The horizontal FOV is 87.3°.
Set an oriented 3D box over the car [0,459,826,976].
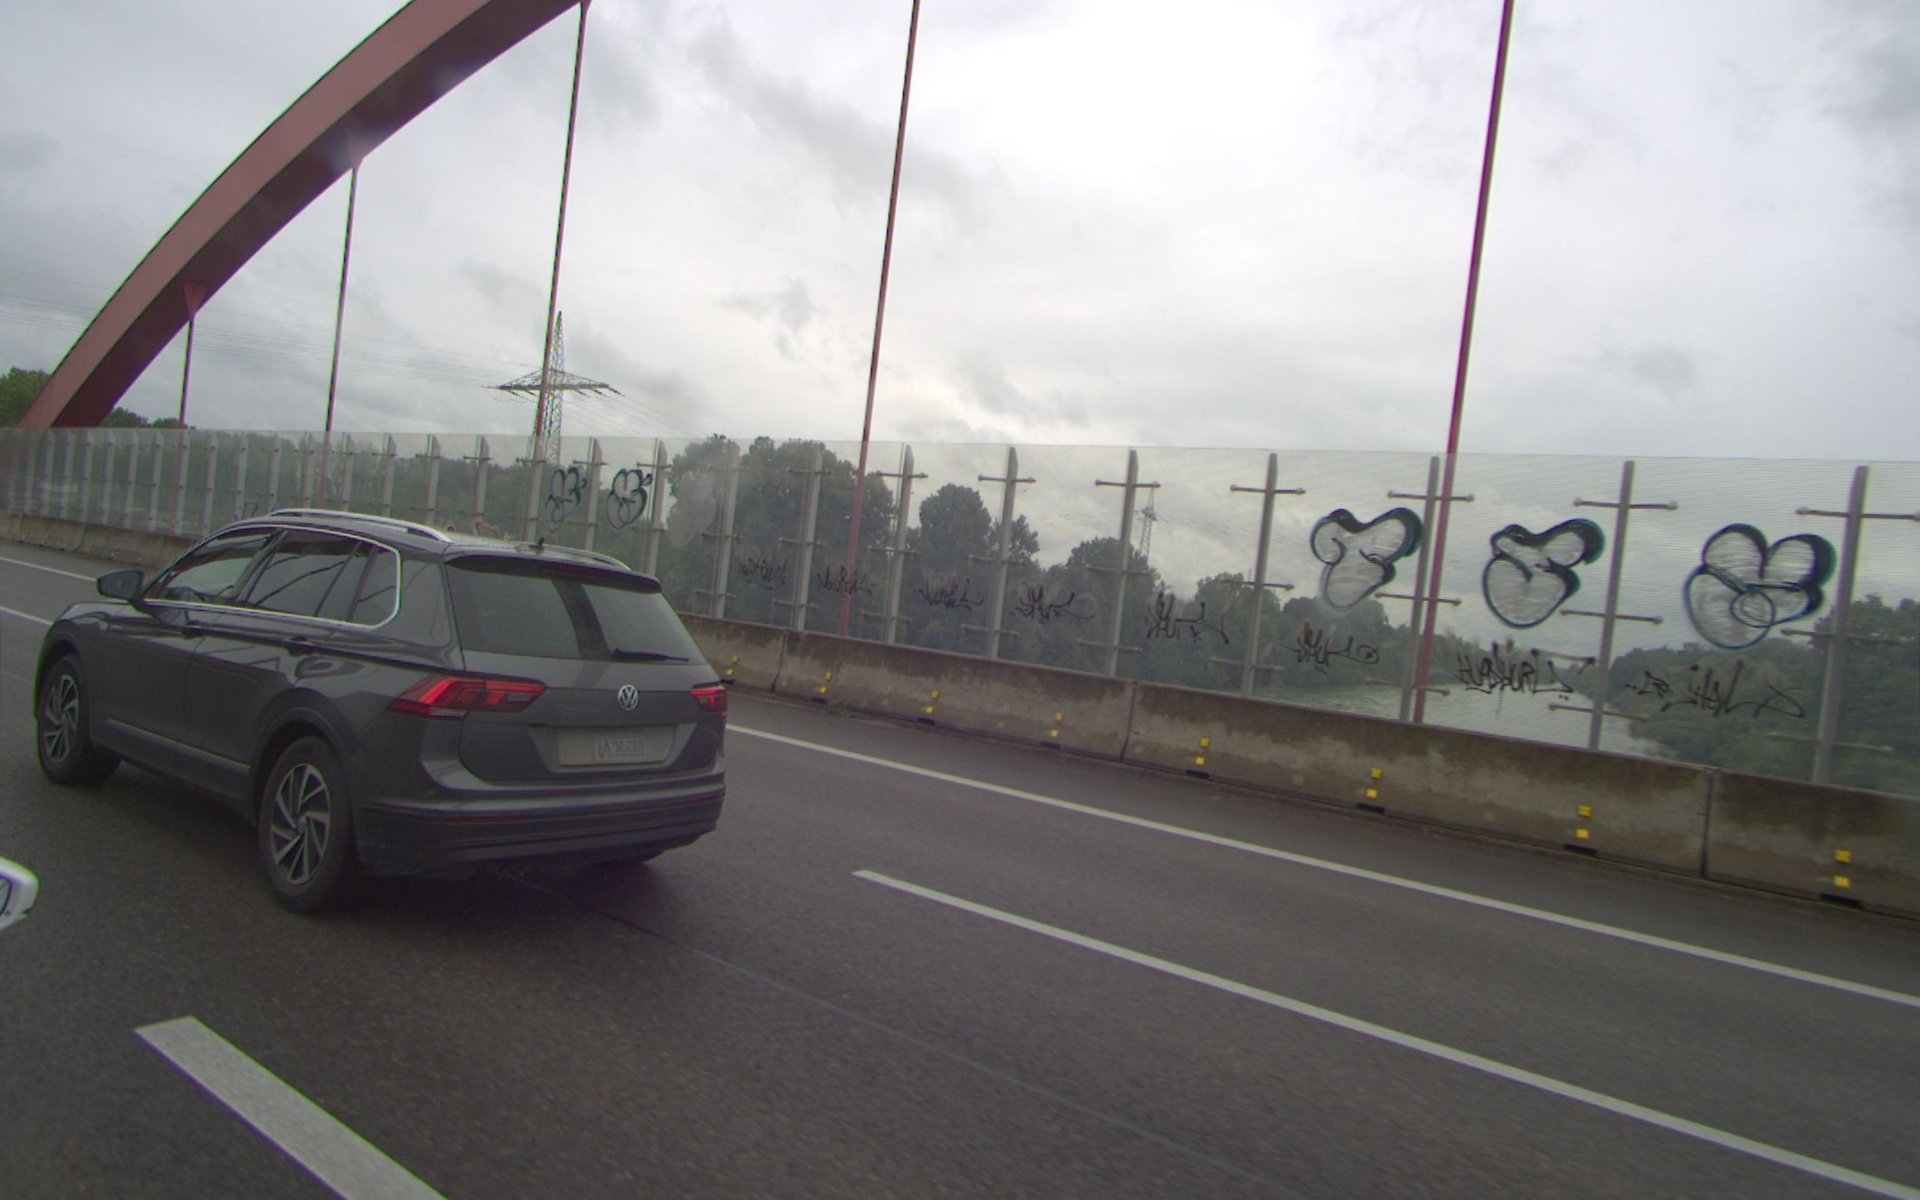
[{"bbox_3d":[-2.986,0.350,5.349,4.034,1.690,1.916,7,-1,30],"label":"car"}]
